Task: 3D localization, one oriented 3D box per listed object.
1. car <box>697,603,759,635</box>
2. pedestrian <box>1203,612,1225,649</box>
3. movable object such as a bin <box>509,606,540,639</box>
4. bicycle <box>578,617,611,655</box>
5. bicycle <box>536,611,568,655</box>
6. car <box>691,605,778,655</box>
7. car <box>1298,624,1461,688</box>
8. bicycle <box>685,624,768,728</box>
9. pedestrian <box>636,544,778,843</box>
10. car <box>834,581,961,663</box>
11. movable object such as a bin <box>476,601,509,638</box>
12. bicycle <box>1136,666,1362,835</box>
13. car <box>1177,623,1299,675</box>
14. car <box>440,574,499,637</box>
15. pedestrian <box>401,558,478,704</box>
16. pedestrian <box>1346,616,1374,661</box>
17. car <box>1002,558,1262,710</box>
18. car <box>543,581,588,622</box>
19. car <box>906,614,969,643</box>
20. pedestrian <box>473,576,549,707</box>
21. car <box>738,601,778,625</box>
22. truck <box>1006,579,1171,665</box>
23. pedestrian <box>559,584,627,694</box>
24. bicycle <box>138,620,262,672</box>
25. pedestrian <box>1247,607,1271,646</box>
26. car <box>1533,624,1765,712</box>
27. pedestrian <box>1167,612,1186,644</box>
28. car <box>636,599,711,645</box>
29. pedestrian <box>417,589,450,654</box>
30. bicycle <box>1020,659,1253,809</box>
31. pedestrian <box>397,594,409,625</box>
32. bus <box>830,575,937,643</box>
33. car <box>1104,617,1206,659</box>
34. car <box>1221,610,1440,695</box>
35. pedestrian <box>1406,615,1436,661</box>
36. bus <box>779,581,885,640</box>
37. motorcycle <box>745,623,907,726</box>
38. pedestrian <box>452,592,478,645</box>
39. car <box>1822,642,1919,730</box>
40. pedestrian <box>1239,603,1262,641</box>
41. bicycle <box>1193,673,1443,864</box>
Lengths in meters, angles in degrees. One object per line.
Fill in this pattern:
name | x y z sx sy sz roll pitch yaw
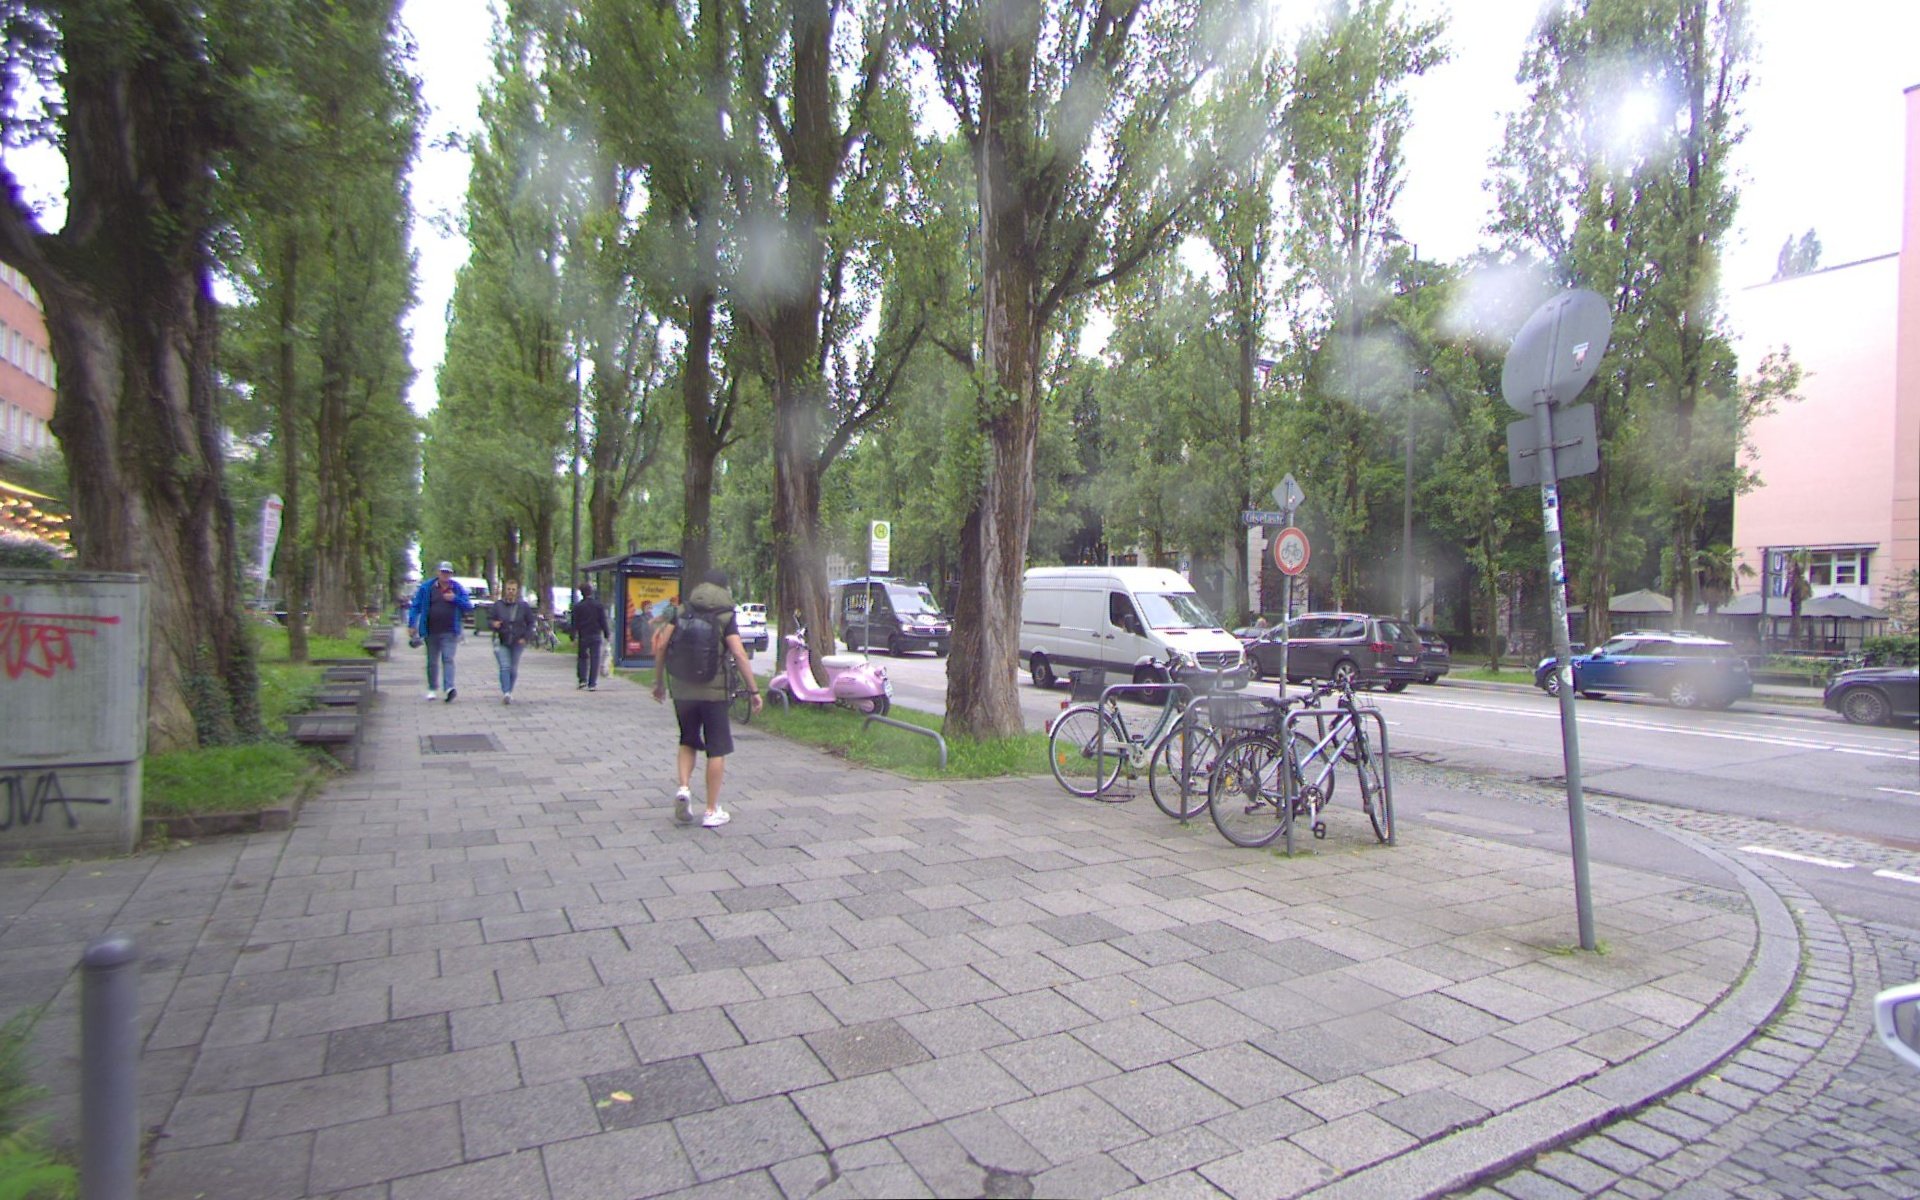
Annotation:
car | -12.639 1.015 54.492 1.977 1.596 4.600 2 -1 -31
pedestrian | 12.252 1.466 48.501 0.700 1.736 0.726 1 -1 -29
movable object such as a bin | -18.020 0.932 41.557 1.052 1.329 0.975 2 -1 -32
bicycle | -10.701 1.044 29.397 0.548 1.036 1.747 1 0 -32
bicycle | -11.742 0.936 28.870 0.576 1.204 2.125 1 0 -29
car | -8.030 1.030 35.448 1.988 1.601 3.970 2 0 -28
car | 12.147 1.568 29.359 1.772 1.622 4.204 2 -1 -29
bicycle | -3.000 0.929 12.808 0.576 1.204 1.603 1 0 -29
pedestrian | -1.652 0.569 6.511 0.742 1.796 0.701 1 0 -25
car | -2.319 0.700 34.973 2.058 2.590 5.885 0 0 -30
movable object such as a bin | -18.862 0.786 40.510 1.052 1.423 0.975 2 -1 -32
bicycle | 2.137 1.056 7.375 1.680 1.108 0.488 2 0 -25
car | 9.447 1.654 34.375 1.772 1.431 3.851 3 1 -29
car | -25.439 0.290 51.947 2.175 3.057 5.949 2 0 -31
pedestrian | -7.159 0.416 13.820 0.635 1.933 0.701 1 0 37
pedestrian | 15.838 1.511 39.808 0.700 1.736 0.726 2 0 -29
car | 3.293 0.604 20.787 2.022 2.687 5.995 0 0 -29
car | -26.910 0.088 68.409 1.988 2.667 5.953 2 0 -29
car | -1.264 1.516 54.295 1.772 1.431 3.852 2 0 -29
pedestrian | -6.227 0.564 13.937 0.635 1.750 0.701 1 0 37
car | -16.170 1.019 80.217 1.976 1.745 4.089 3 -1 -28
truck | 4.667 0.759 38.111 2.569 2.946 7.027 2 0 -28
pedestrian | -6.049 0.629 16.551 0.849 1.734 0.951 2 0 -31
bicycle | -14.182 0.854 18.806 1.782 0.925 0.615 2 0 -33
pedestrian | 13.343 1.186 44.812 0.700 1.736 0.726 2 0 -29
car | 15.795 1.516 23.246 1.773 1.754 4.045 3 -1 -30
pedestrian | 11.839 1.519 54.937 0.700 1.736 0.726 2 0 -29
car | -11.675 0.910 40.787 1.989 1.780 3.967 1 -2 -31
pedestrian | -14.219 0.580 27.160 0.726 1.715 0.642 1 0 -26
bicycle | 1.478 1.058 8.275 1.957 1.108 0.488 2 0 -25
pedestrian | -30.480 0.517 54.947 0.498 1.715 0.518 1 0 -26
bus | -4.043 0.470 50.600 2.885 3.092 8.472 1 -1 -22
car | 7.372 1.413 38.292 1.772 1.431 3.852 2 0 -29
car | 8.705 1.185 24.087 1.976 1.745 4.779 3 -1 -28
pedestrian | 17.452 1.437 38.037 0.700 1.736 0.726 2 0 -29
bus | -7.627 0.597 58.424 2.890 3.092 9.726 1 -1 -27
motorcycle | -1.716 0.926 12.872 1.951 1.212 0.630 1 -1 17
pedestrian | -16.363 0.616 33.218 0.726 1.715 0.642 1 0 -26
car | 18.750 1.625 18.169 1.772 1.549 4.480 2 -1 -29
pedestrian | 13.639 1.041 47.157 0.700 1.736 0.726 2 0 -29
bicycle | 2.374 1.053 6.614 1.680 1.108 0.488 2 0 -25
